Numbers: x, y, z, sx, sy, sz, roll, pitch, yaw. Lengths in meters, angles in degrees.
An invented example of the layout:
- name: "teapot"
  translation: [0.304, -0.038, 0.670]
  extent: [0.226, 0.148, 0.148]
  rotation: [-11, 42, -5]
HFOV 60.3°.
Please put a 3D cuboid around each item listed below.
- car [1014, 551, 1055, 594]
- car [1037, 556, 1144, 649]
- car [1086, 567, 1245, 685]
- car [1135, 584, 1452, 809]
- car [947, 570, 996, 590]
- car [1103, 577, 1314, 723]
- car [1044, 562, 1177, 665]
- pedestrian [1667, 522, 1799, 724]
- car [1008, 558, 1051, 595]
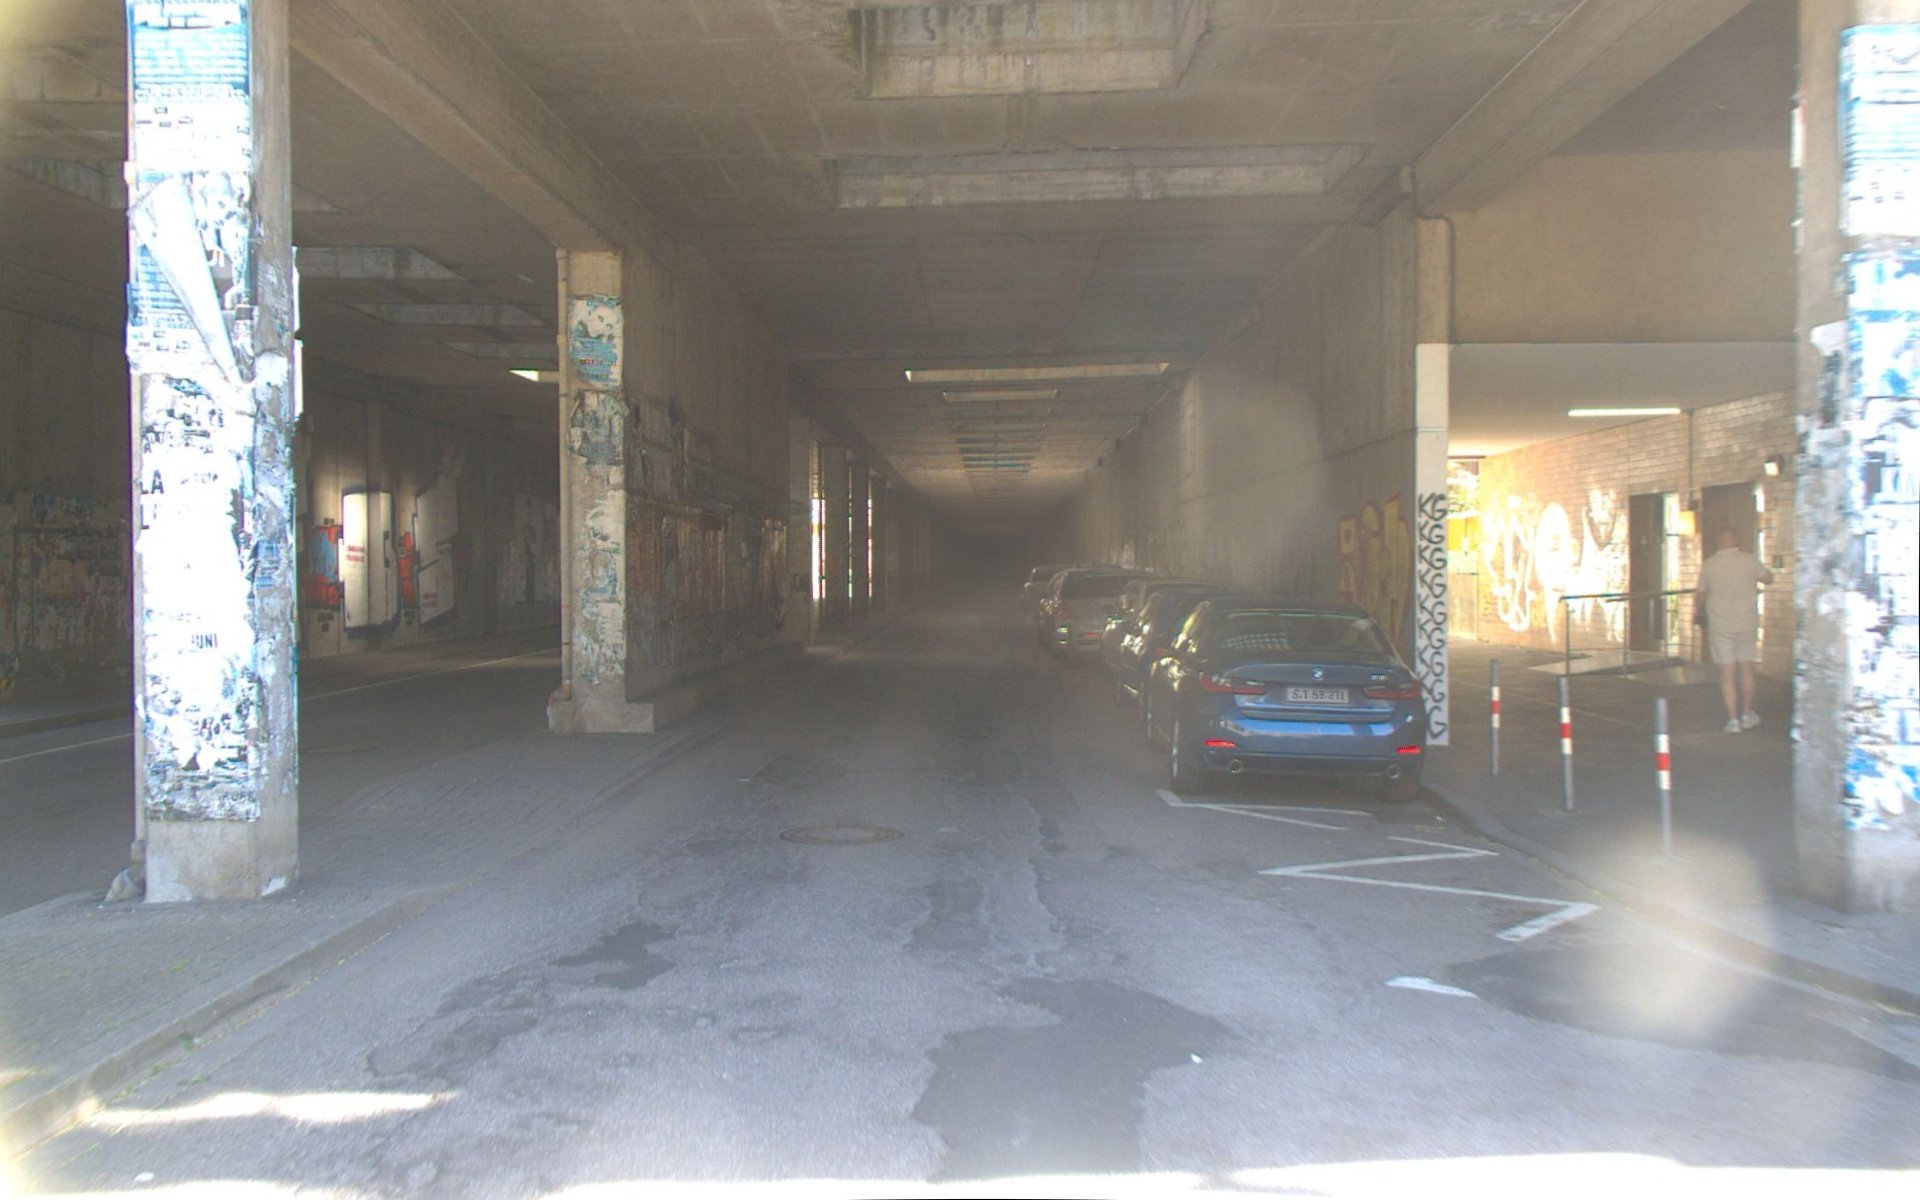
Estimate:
- name: "car"
  translation: [3.458, -1.305, 77.264]
  extent: [1.777, 1.915, 4.587]
  rotation: [-1, 1, 1]
- name: "car"
  translation: [2.521, -0.017, 32.956]
  extent: [1.815, 1.695, 4.372]
  rotation: [0, 2, 0]
- name: "car"
  translation: [2.799, 0.312, 23.231]
  extent: [1.571, 1.513, 3.635]
  rotation: [0, 1, -4]
- name: "car"
  translation: [2.495, 0.627, 13.473]
  extent: [1.813, 1.458, 4.609]
  rotation: [1, 1, 3]
- name: "car"
  translation: [0.950, -1.613, 134.269]
  extent: [3.902, 1.601, 1.641]
  rotation: [0, 1, 5]
- name: "car"
  translation: [2.632, 0.466, 18.366]
  extent: [1.725, 1.435, 4.063]
  rotation: [0, 1, 0]
- name: "car"
  translation: [2.426, 0.177, 27.567]
  extent: [1.695, 1.573, 4.154]
  rotation: [0, 1, -2]
- name: "pedestrian"
  translation: [6.811, 0.182, 14.613]
  extent: [0.777, 1.728, 0.758]
  rotation: [0, 3, 0]
- name: "car"
  translation: [2.950, -1.043, 70.735]
  extent: [1.788, 1.527, 4.212]
  rotation: [0, 1, 2]
